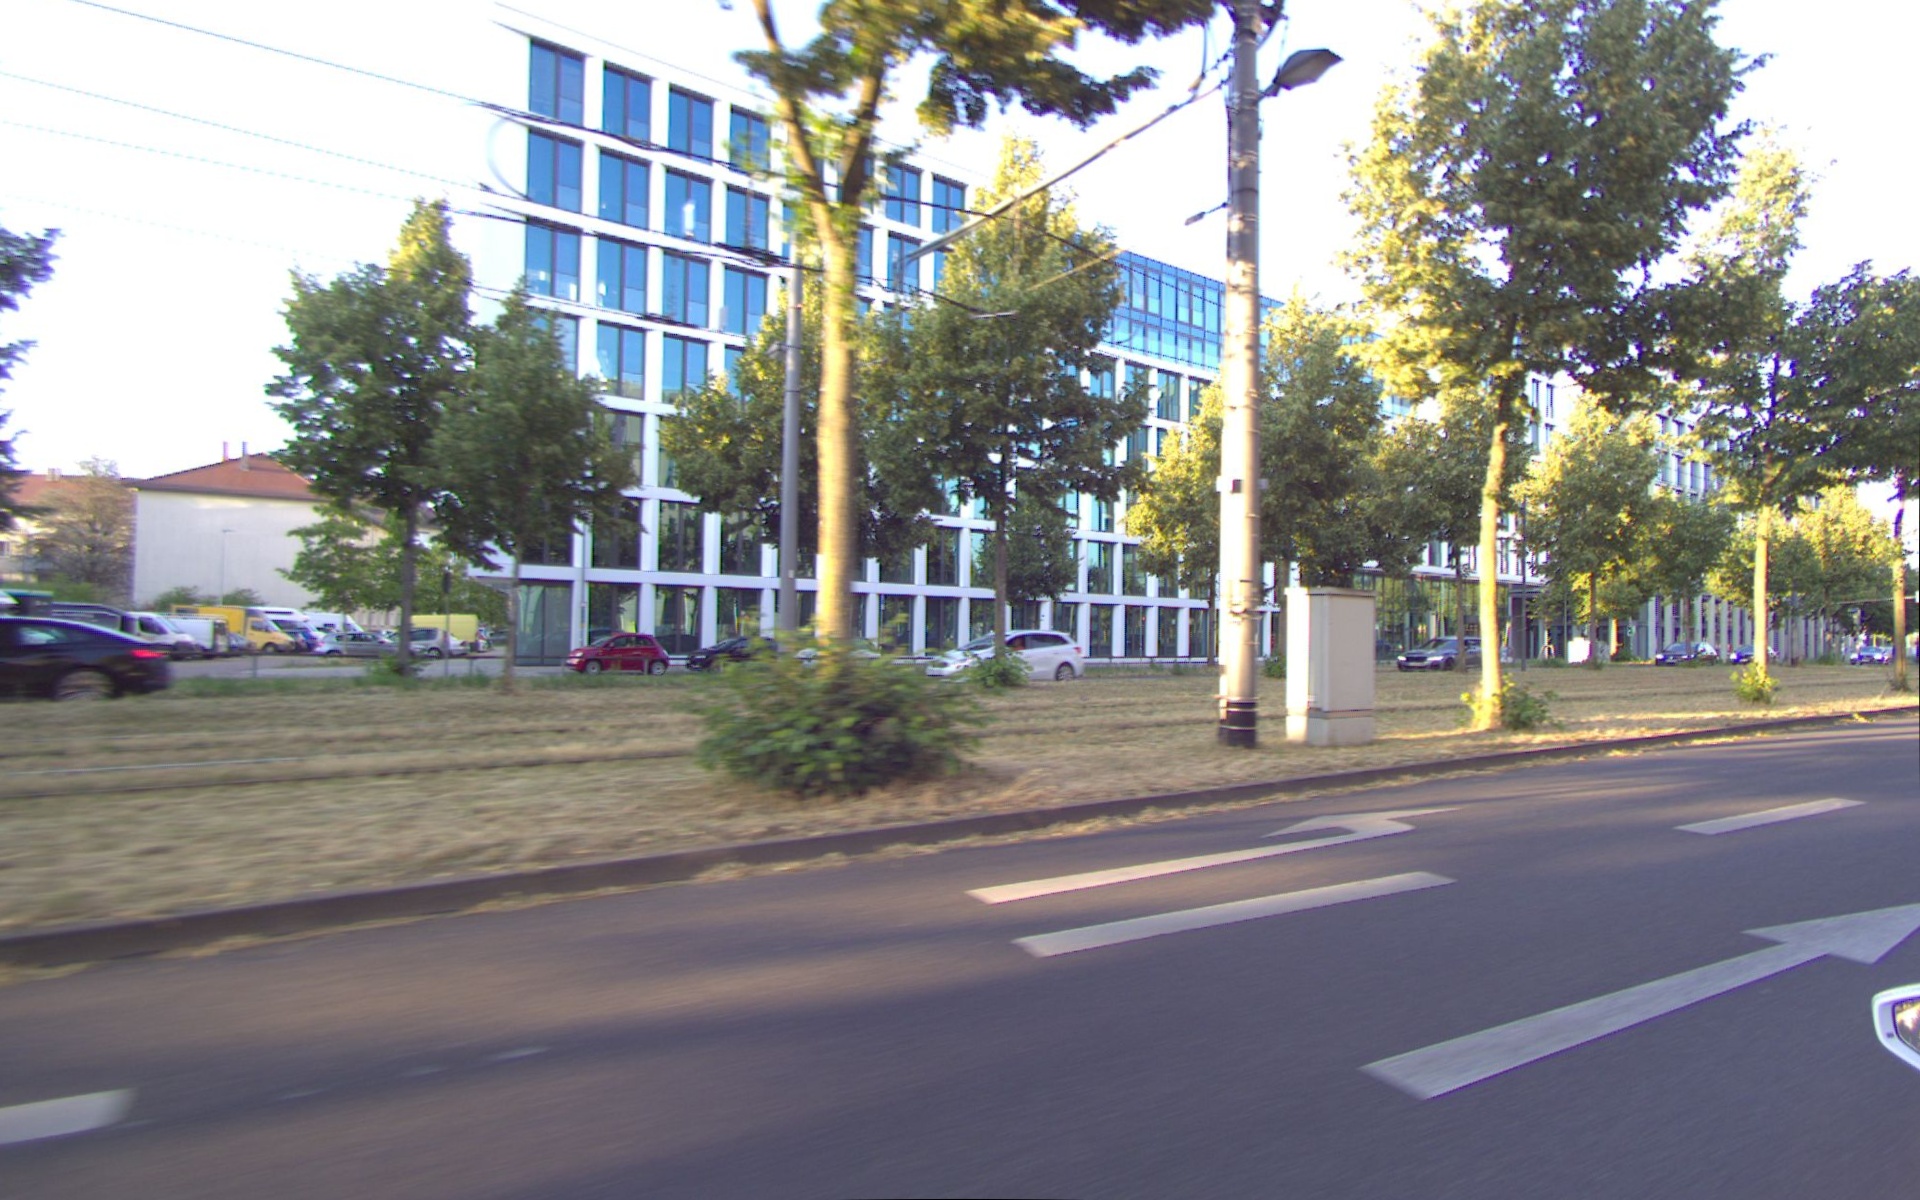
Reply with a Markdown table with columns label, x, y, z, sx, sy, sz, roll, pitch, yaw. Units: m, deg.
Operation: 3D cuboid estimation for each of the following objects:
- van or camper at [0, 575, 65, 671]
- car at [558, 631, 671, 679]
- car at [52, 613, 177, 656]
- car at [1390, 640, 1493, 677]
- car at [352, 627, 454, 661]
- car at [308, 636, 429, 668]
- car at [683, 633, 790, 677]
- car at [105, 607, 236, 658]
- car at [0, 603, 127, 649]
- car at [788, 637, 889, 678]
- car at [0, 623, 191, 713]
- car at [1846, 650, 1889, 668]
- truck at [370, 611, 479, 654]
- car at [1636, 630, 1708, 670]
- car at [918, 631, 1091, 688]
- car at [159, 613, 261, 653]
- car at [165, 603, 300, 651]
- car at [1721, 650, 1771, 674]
| label | x | y | z | sx | sy | sz | roll | pitch | yaw |
| --- | --- | --- | --- | --- | --- | --- | --- | --- | --- |
| van or camper | -33.860 | 0.711 | 32.947 | 6.192 | 3.126 | 2.696 | 2 | -2 | -32 |
| car | -12.448 | 1.970 | 36.223 | 3.457 | 1.602 | 1.848 | 2 | -2 | -35 |
| car | -37.559 | 1.551 | 44.777 | 3.956 | 1.835 | 1.905 | 2 | -2 | -32 |
| car | 18.616 | 2.255 | 38.787 | 4.698 | 1.349 | 1.645 | 3 | -3 | -37 |
| car | -27.711 | 2.191 | 50.133 | 4.218 | 1.610 | 1.759 | 2 | -2 | -24 |
| car | -25.173 | 2.219 | 42.927 | 4.190 | 1.277 | 1.736 | 2 | -2 | -23 |
| car | -8.604 | 2.100 | 38.754 | 3.628 | 1.602 | 1.848 | 2 | -2 | -35 |
| car | -37.803 | 1.578 | 48.246 | 4.443 | 2.337 | 2.095 | 2 | -2 | -24 |
| car | -37.429 | 1.106 | 41.820 | 3.956 | 1.835 | 1.905 | 2 | -2 | -32 |
| car | -5.030 | 2.356 | 41.696 | 3.746 | 1.602 | 1.848 | 2 | -2 | -35 |
| car | -14.860 | 1.035 | 15.698 | 4.433 | 1.349 | 1.645 | 3 | -3 | -37 |
| car | 68.956 | 4.473 | 76.312 | 4.542 | 1.349 | 1.645 | 2 | -2 | -37 |
| truck | -31.436 | 1.934 | 59.182 | 5.496 | 2.413 | 1.988 | 2 | -2 | -25 |
| car | 37.543 | 2.647 | 52.920 | 3.962 | 2.040 | 1.980 | 2 | -3 | -36 |
| car | 1.212 | 1.523 | 26.029 | 4.488 | 1.349 | 1.645 | 3 | -3 | -37 |
| car | -40.125 | 1.780 | 53.839 | 3.945 | 2.040 | 1.988 | 2 | -2 | -25 |
| car | -42.568 | 1.623 | 58.938 | 6.002 | 2.630 | 1.990 | 2 | -2 | -22 |
| car | 53.417 | 4.206 | 68.245 | 4.151 | 1.521 | 1.645 | 2 | -2 | -37 |
